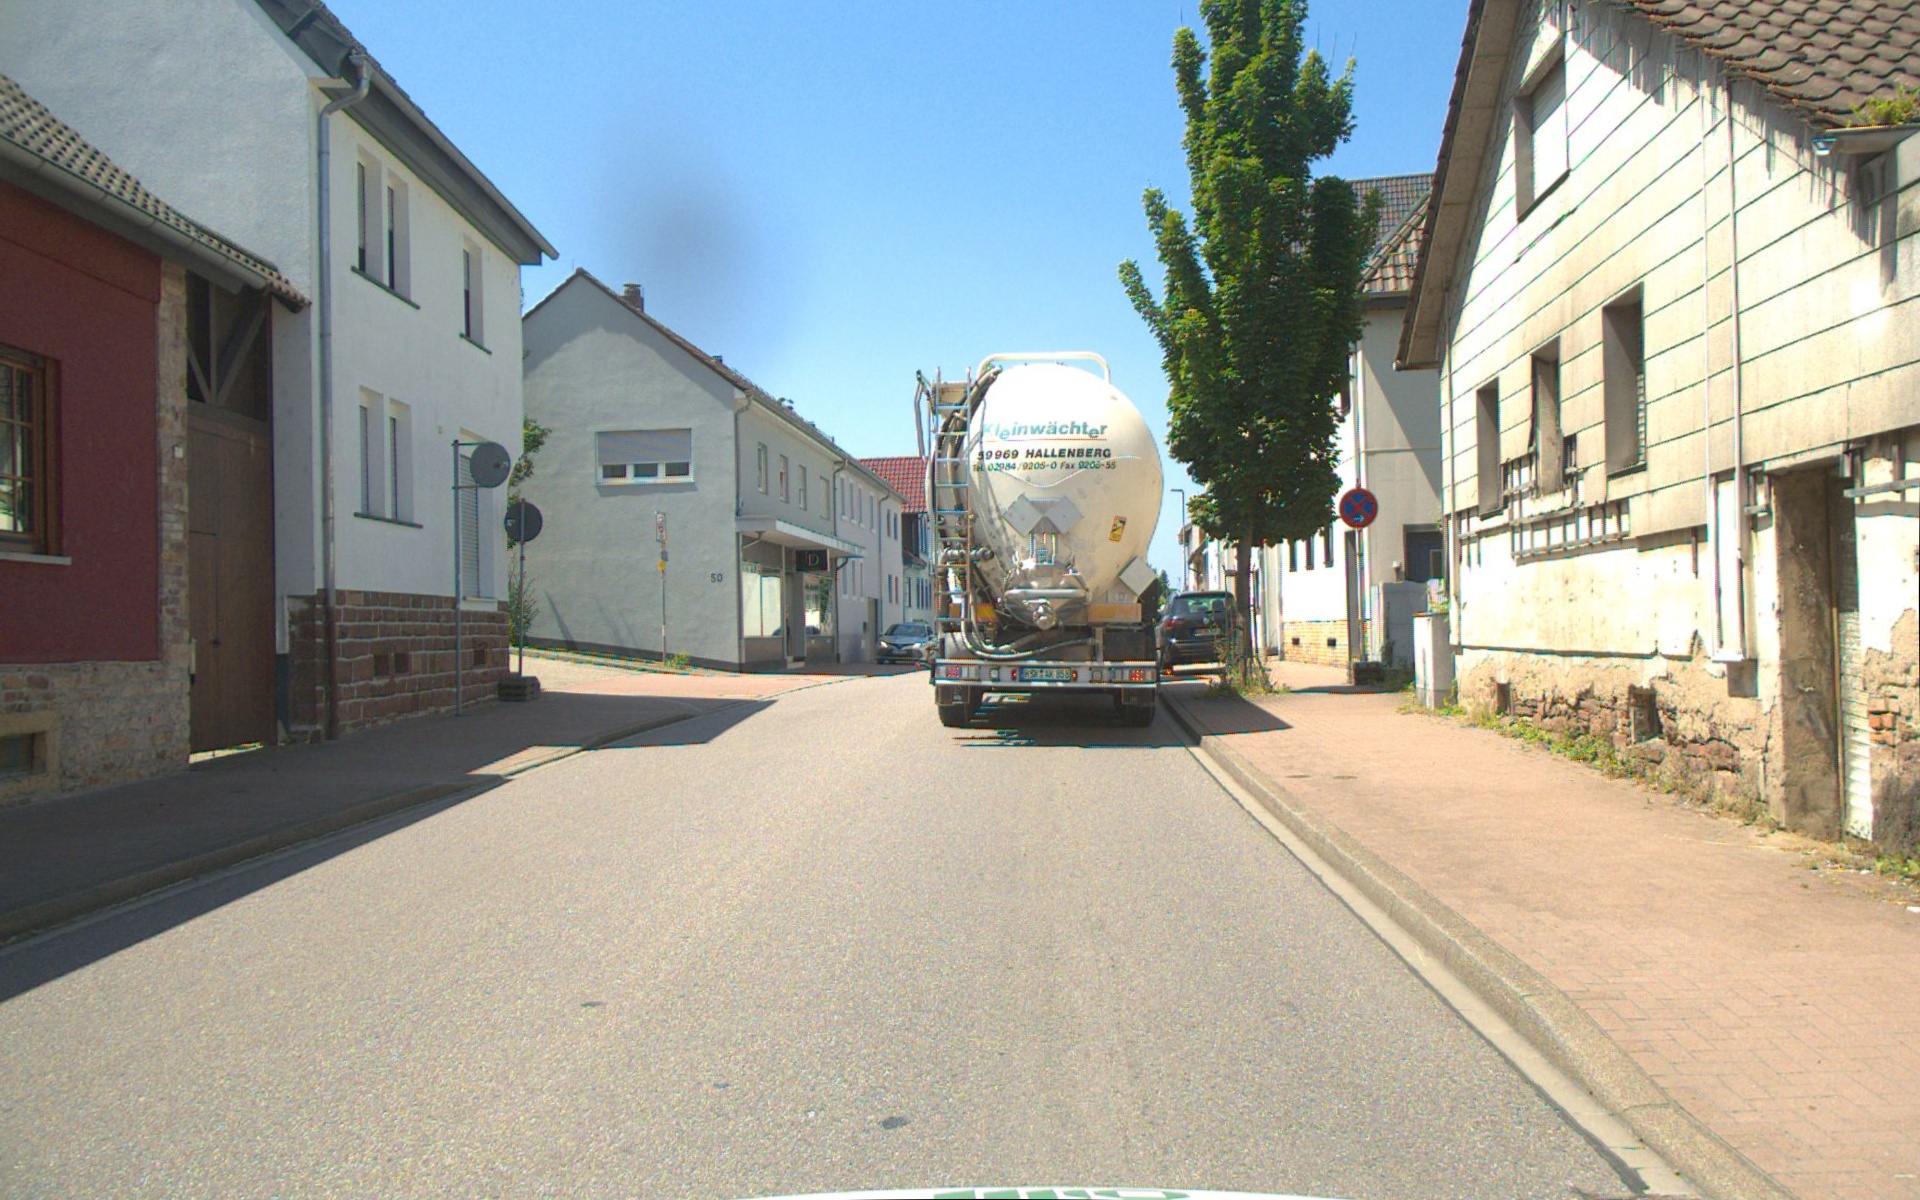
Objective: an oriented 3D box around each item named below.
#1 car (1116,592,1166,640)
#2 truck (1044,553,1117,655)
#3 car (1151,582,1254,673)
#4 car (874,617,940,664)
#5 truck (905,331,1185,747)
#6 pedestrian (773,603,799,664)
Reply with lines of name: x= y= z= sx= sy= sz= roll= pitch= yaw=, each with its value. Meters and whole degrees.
car: x=8.041 y=0.741 z=73.886 sx=1.905 sy=2.005 sz=4.786 roll=-2 pitch=-1 yaw=3
truck: x=5.143 y=0.129 z=71.974 sx=2.901 sy=4.140 sz=9.287 roll=-1 pitch=0 yaw=3
car: x=4.919 y=0.549 z=34.039 sx=1.764 sy=1.642 sz=4.551 roll=-4 pitch=-1 yaw=5
car: x=-1.830 y=1.415 z=58.459 sx=1.770 sy=1.584 sz=4.567 roll=1 pitch=-1 yaw=5
truck: x=1.068 y=-0.568 z=20.205 sx=2.675 sy=4.029 sz=8.145 roll=1 pitch=-1 yaw=3
pedestrian: x=-4.957 y=0.956 z=47.114 sx=0.611 sy=1.714 sz=0.771 roll=-1 pitch=-2 yaw=4
